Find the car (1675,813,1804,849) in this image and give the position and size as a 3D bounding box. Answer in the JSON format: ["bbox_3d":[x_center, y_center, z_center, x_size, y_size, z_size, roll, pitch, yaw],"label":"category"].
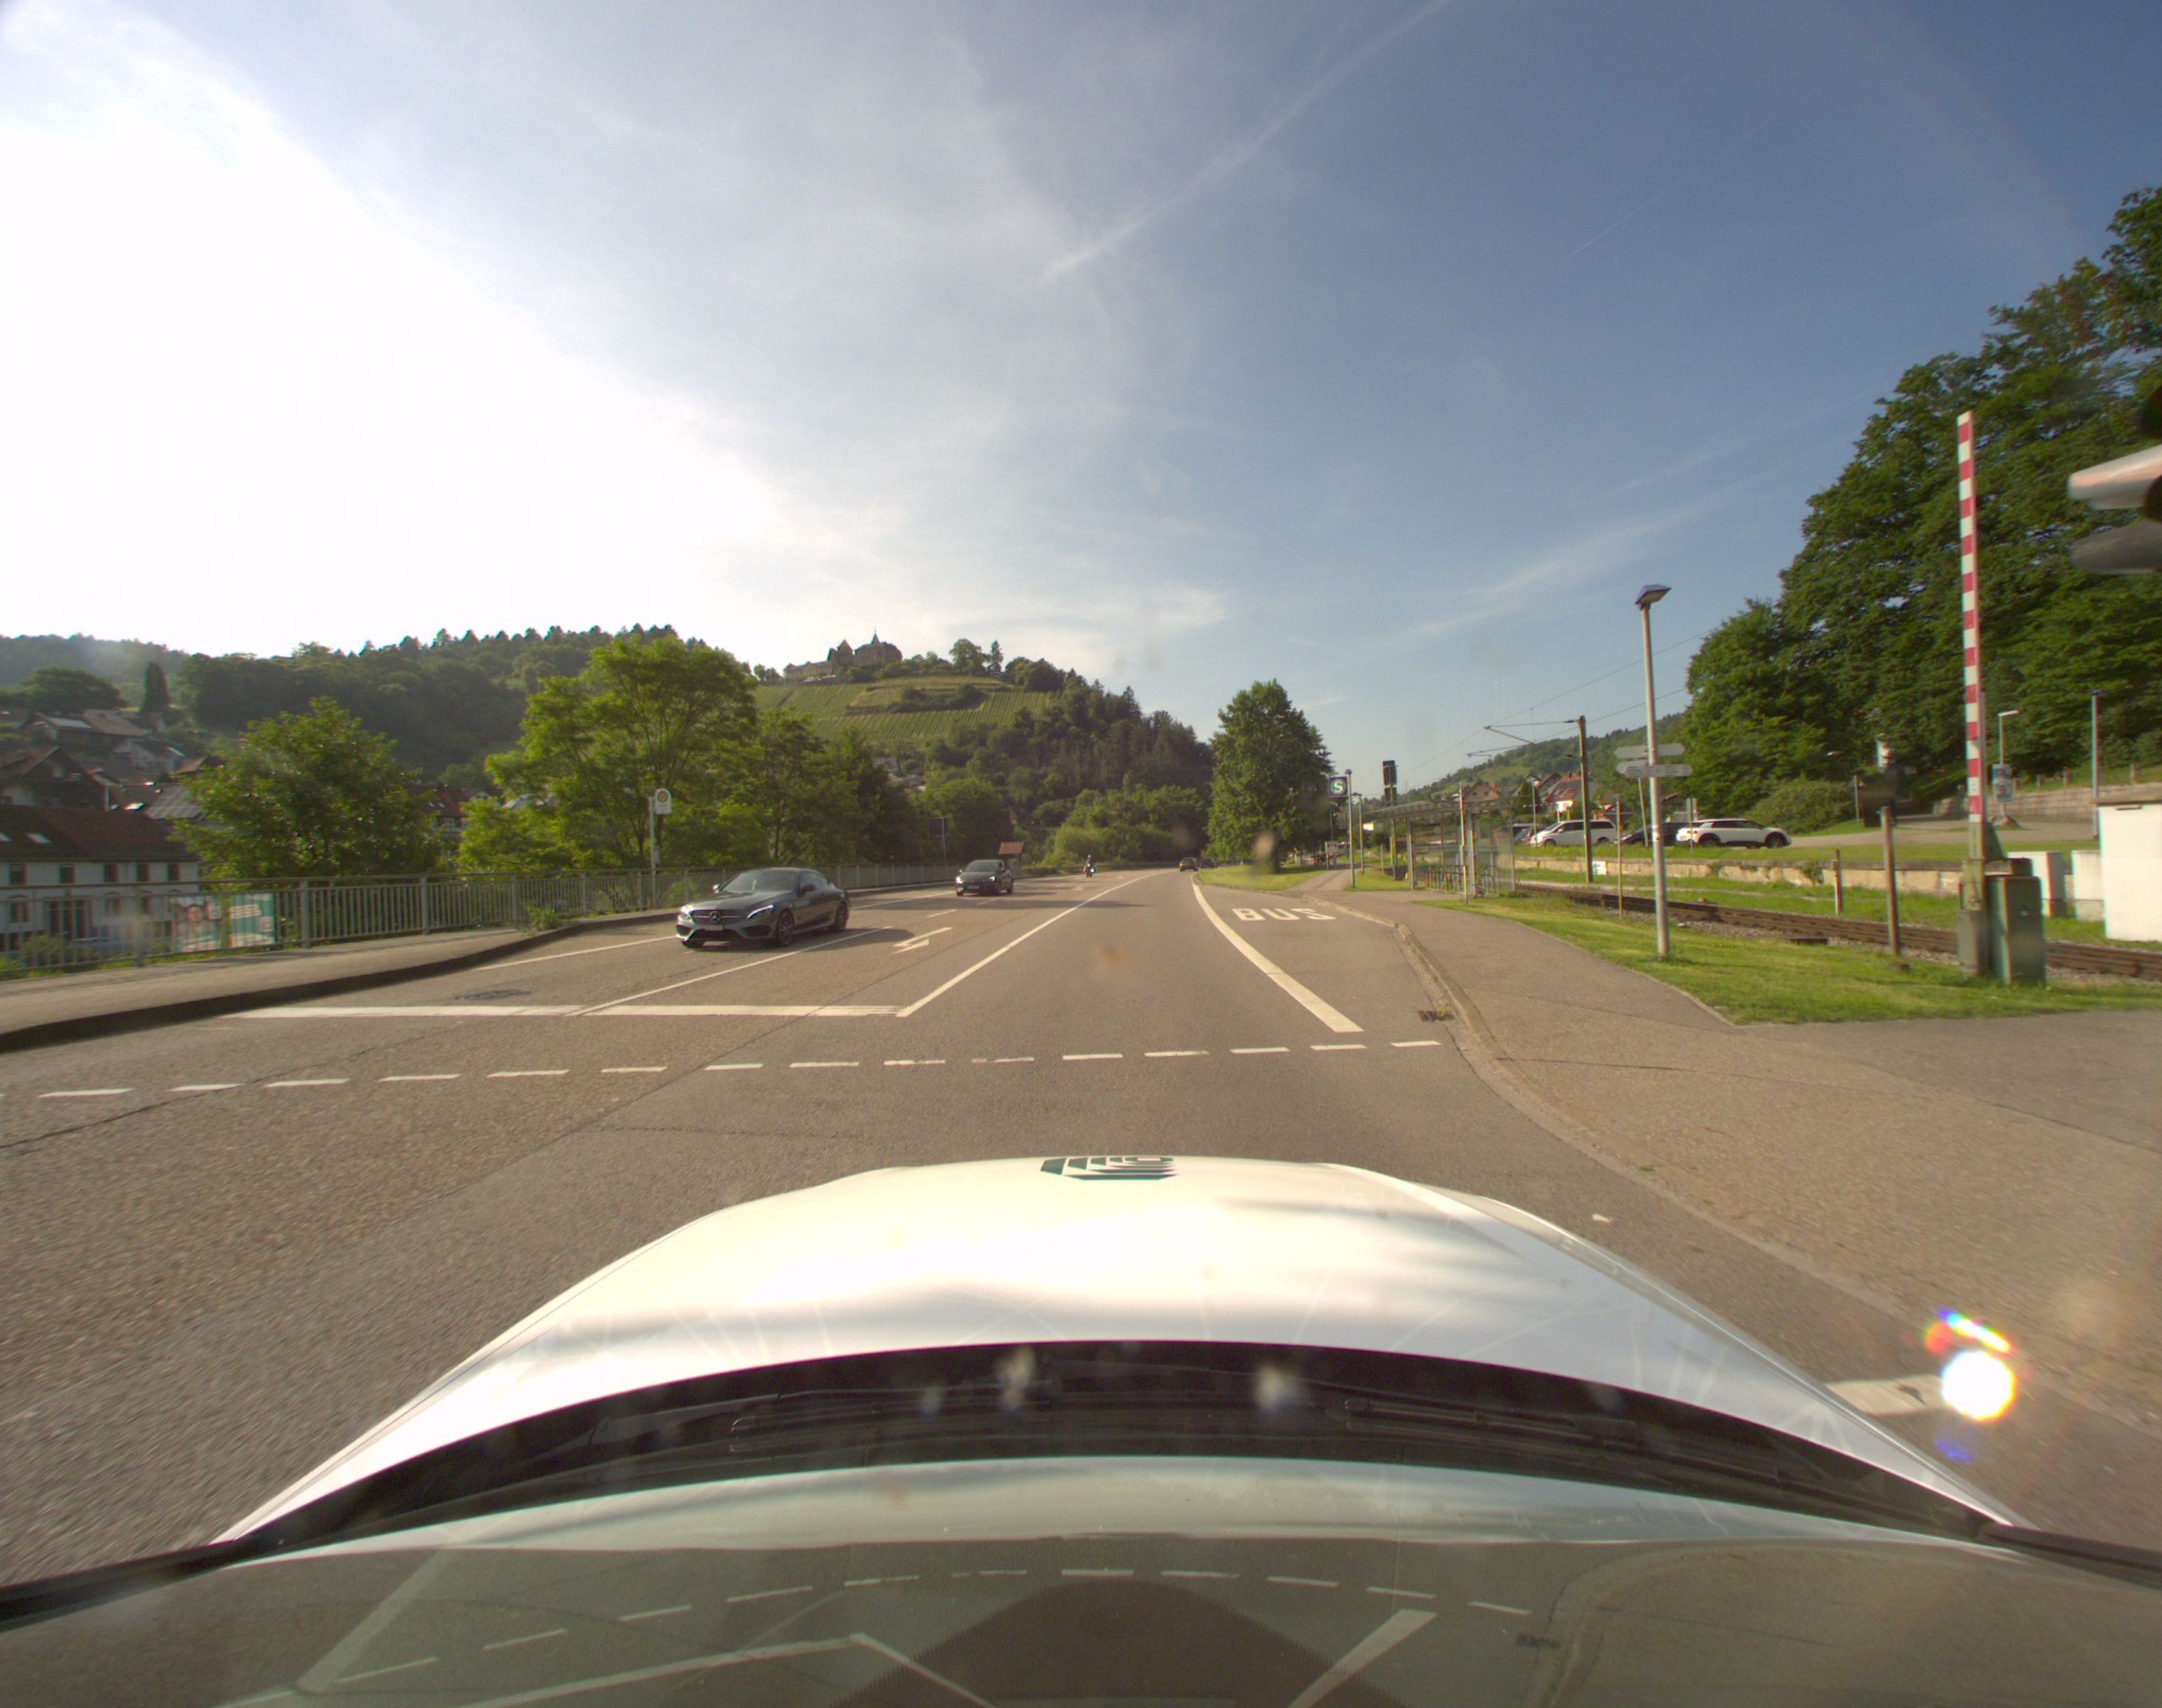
[{"bbox_3d":[29.278,-0.982,36.338,4.069,1.398,1.815,-2,0,11],"label":"car"}]

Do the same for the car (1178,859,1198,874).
[{"bbox_3d":[11.787,1.380,89.499,1.716,1.457,3.424,-4,-1,14],"label":"car"}]

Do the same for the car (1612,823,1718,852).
[{"bbox_3d":[31.248,-0.867,43.702,4.237,1.343,1.837,-2,0,11],"label":"car"}]

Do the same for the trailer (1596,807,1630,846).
[{"bbox_3d":[58.427,-2.958,89.569,2.581,3.893,7.781,-4,-1,30],"label":"trailer"}]

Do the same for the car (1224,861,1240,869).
[{"bbox_3d":[27.745,1.985,149.231,1.834,1.469,4.568,-1,0,25],"label":"car"}]

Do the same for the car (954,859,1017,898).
[{"bbox_3d":[-3.979,0.990,34.700,1.777,1.479,4.759,-2,-1,4],"label":"car"}]

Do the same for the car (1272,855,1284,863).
[{"bbox_3d":[39.805,1.072,164.600,1.792,1.408,3.794,-4,-1,22],"label":"car"}]

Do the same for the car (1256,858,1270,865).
[{"bbox_3d":[38.106,1.588,170.742,1.678,1.402,4.227,-2,-1,28],"label":"car"}]

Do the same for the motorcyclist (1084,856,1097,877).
[{"bbox_3d":[0.799,1.034,68.773,0.840,1.784,1.174,-1,0,8],"label":"motorcyclist"}]

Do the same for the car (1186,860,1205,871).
[{"bbox_3d":[17.050,1.720,121.201,1.660,1.460,4.225,-2,-1,24],"label":"car"}]

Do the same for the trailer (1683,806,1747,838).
[{"bbox_3d":[49.912,-2.488,64.214,3.656,2.189,1.830,-4,-1,30],"label":"trailer"}]

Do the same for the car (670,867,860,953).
[{"bbox_3d":[-5.913,0.973,15.940,1.764,1.377,4.646,0,0,2],"label":"car"}]

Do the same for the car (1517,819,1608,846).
[{"bbox_3d":[32.893,-1.455,55.792,4.919,1.587,2.148,-2,0,11],"label":"car"}]

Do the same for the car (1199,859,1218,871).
[{"bbox_3d":[16.953,1.454,108.142,1.826,1.459,3.729,-4,-1,16],"label":"car"}]

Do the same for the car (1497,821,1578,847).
[{"bbox_3d":[34.067,-1.497,60.914,4.919,1.691,1.942,-2,0,11],"label":"car"}]

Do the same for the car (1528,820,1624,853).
[{"bbox_3d":[32.392,-1.126,53.436,4.919,1.943,2.148,-2,0,11],"label":"car"}]

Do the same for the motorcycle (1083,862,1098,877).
[{"bbox_3d":[0.795,1.327,68.701,0.967,1.221,2.577,-1,0,7],"label":"motorcycle"}]

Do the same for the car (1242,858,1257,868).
[{"bbox_3d":[29.342,1.569,142.067,1.791,1.453,3.667,-4,-1,23],"label":"car"}]

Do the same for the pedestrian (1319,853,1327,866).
[{"bbox_3d":[21.897,0.492,73.631,0.630,1.161,0.730,-4,-1,20],"label":"pedestrian"}]

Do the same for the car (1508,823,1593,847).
[{"bbox_3d":[33.528,-1.355,58.293,4.919,1.468,1.901,-2,0,11],"label":"car"}]
